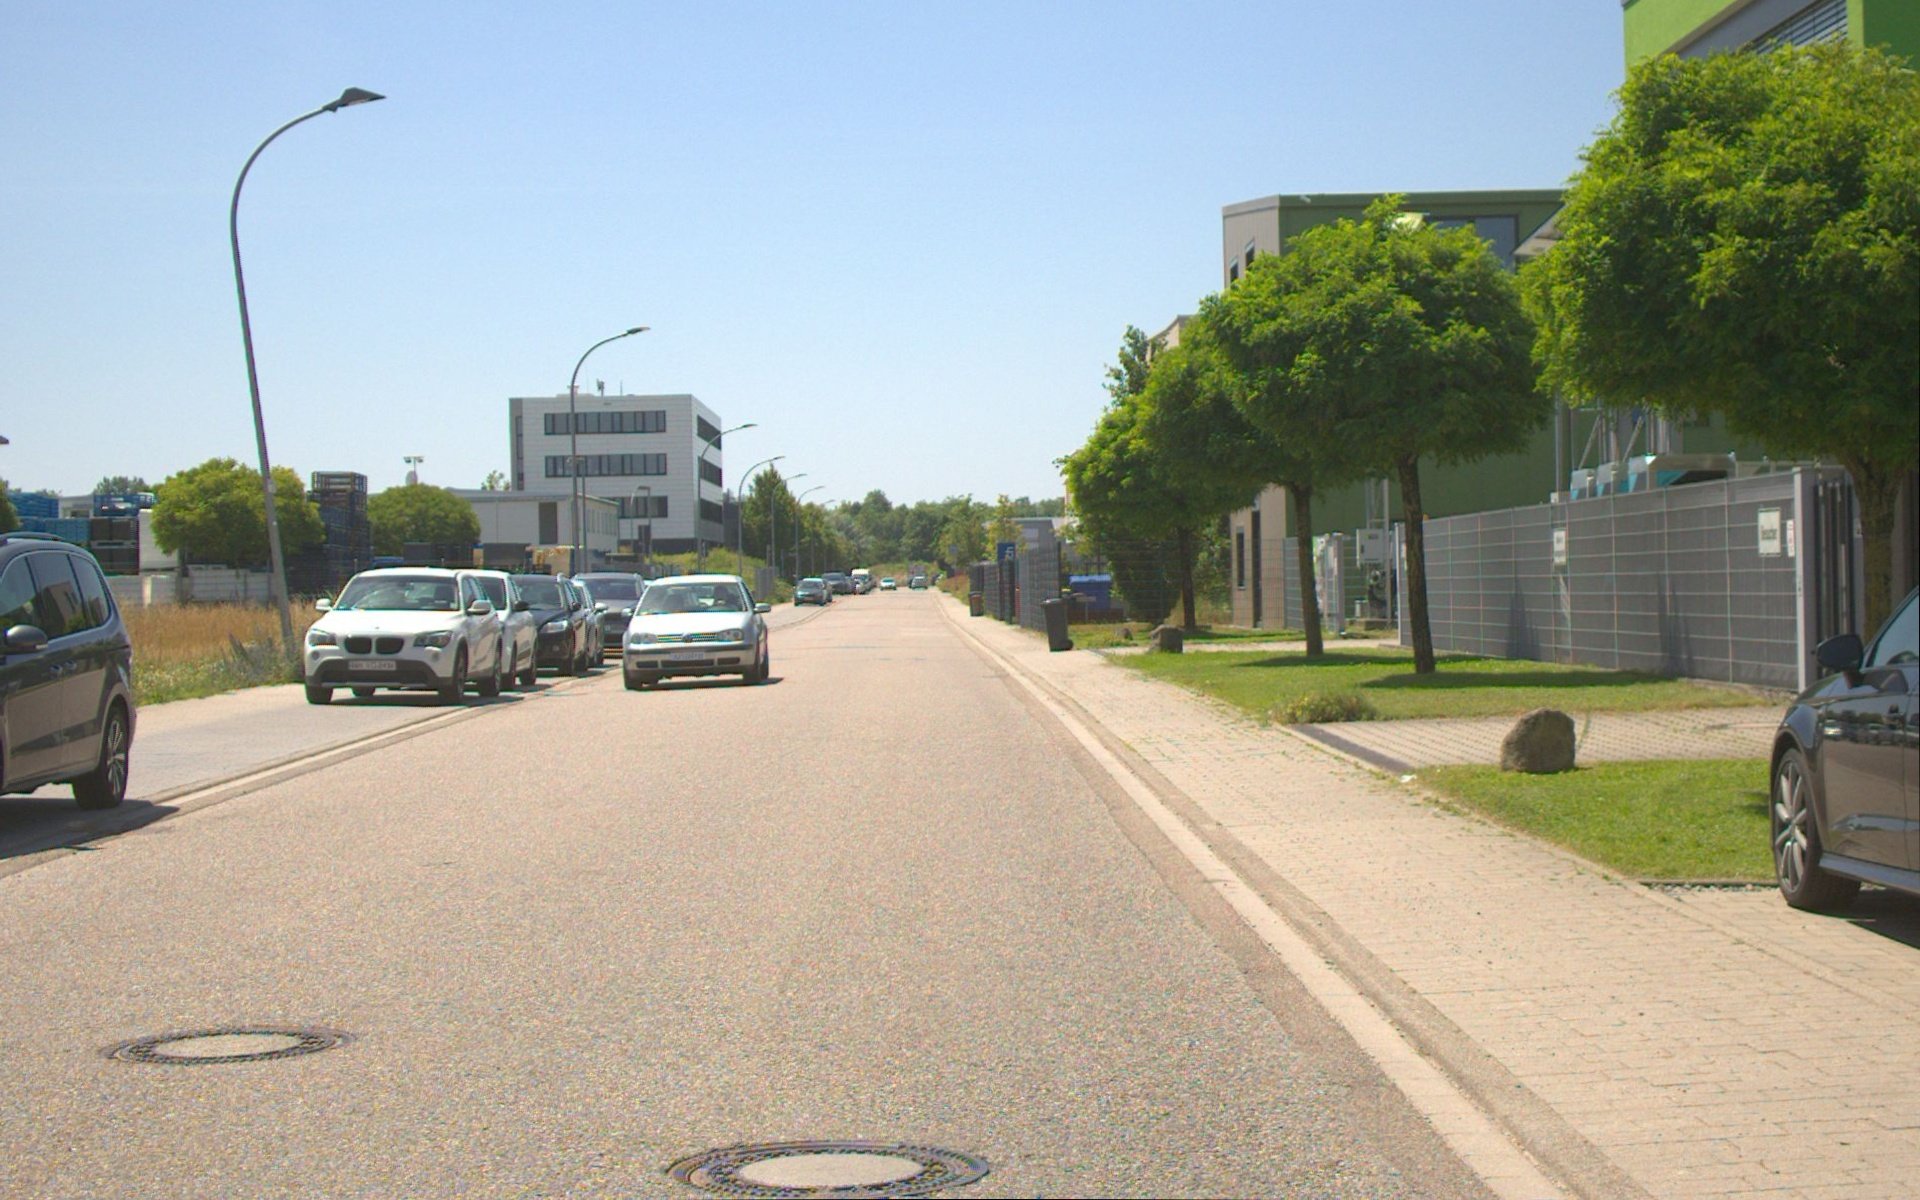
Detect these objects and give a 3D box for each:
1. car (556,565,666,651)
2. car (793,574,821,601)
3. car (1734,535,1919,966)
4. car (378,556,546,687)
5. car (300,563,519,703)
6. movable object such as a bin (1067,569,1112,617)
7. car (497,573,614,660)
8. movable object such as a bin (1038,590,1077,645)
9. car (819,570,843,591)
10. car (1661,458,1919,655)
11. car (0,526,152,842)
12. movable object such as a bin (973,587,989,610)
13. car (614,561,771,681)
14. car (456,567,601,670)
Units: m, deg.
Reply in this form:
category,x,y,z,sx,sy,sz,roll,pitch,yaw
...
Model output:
category,x,y,z,sx,sy,sz,roll,pitch,yaw
car,-6.702,0.137,66.321,1.790,1.601,4.463,0,0,-2
car,-8.776,-0.715,197.310,1.466,1.484,3.207,-1,0,0
car,4.008,0.489,11.786,1.692,1.423,4.246,0,1,-1
car,-6.566,0.262,45.638,1.787,1.651,3.769,0,0,-2
car,-6.387,0.350,40.321,1.787,1.537,4.364,0,0,1
movable object such as a bin,4.048,-0.229,107.714,1.334,1.454,0.949,-2,0,-1
car,-6.884,0.256,58.802,1.763,1.446,4.201,0,0,-4
movable object such as a bin,1.732,0.313,61.124,0.552,0.925,0.521,-5,0,9
car,-9.430,-1.445,252.290,1.644,1.484,3.207,-1,0,0
car,11.797,-0.604,48.547,2.129,2.485,7.026,-3,0,-1
car,-6.119,0.436,19.995,1.802,1.714,4.622,0,1,-1
movable object such as a bin,0.912,-0.072,149.531,0.552,0.925,0.522,-5,1,4
car,-3.485,0.239,45.528,1.704,1.406,4.784,-3,1,-1
car,-6.590,0.261,52.896,1.763,1.512,4.380,0,0,-1
